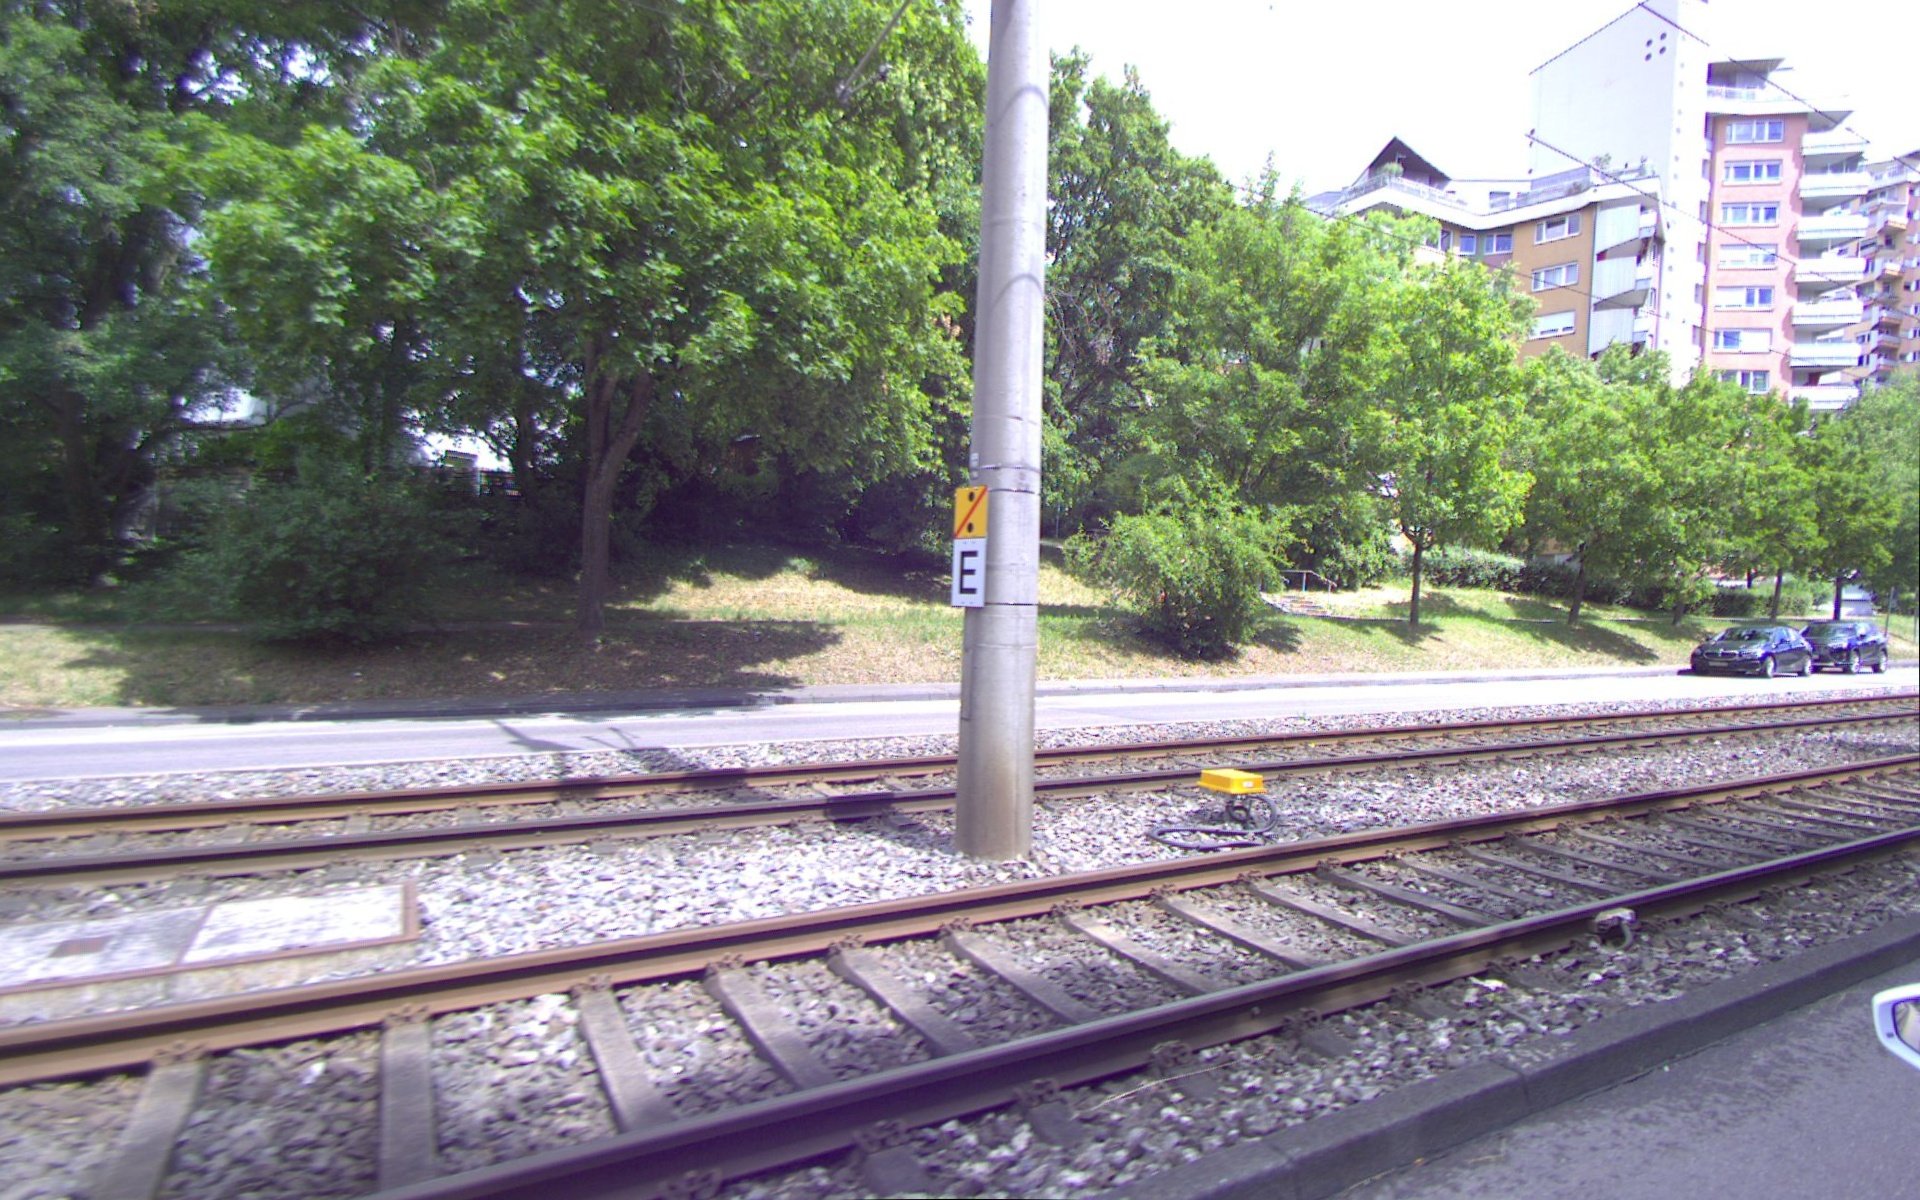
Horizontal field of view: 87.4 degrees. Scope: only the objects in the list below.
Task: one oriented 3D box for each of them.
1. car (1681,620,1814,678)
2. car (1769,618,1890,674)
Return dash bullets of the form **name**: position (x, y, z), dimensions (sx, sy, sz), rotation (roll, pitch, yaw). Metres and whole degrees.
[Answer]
- **car**: position (22.652, 1.387, 28.870), dimensions (3.953, 1.518, 1.764), rotation (1, 0, -32)
- **car**: position (27.718, 1.454, 31.988), dimensions (4.334, 1.651, 1.765), rotation (2, -1, -32)
